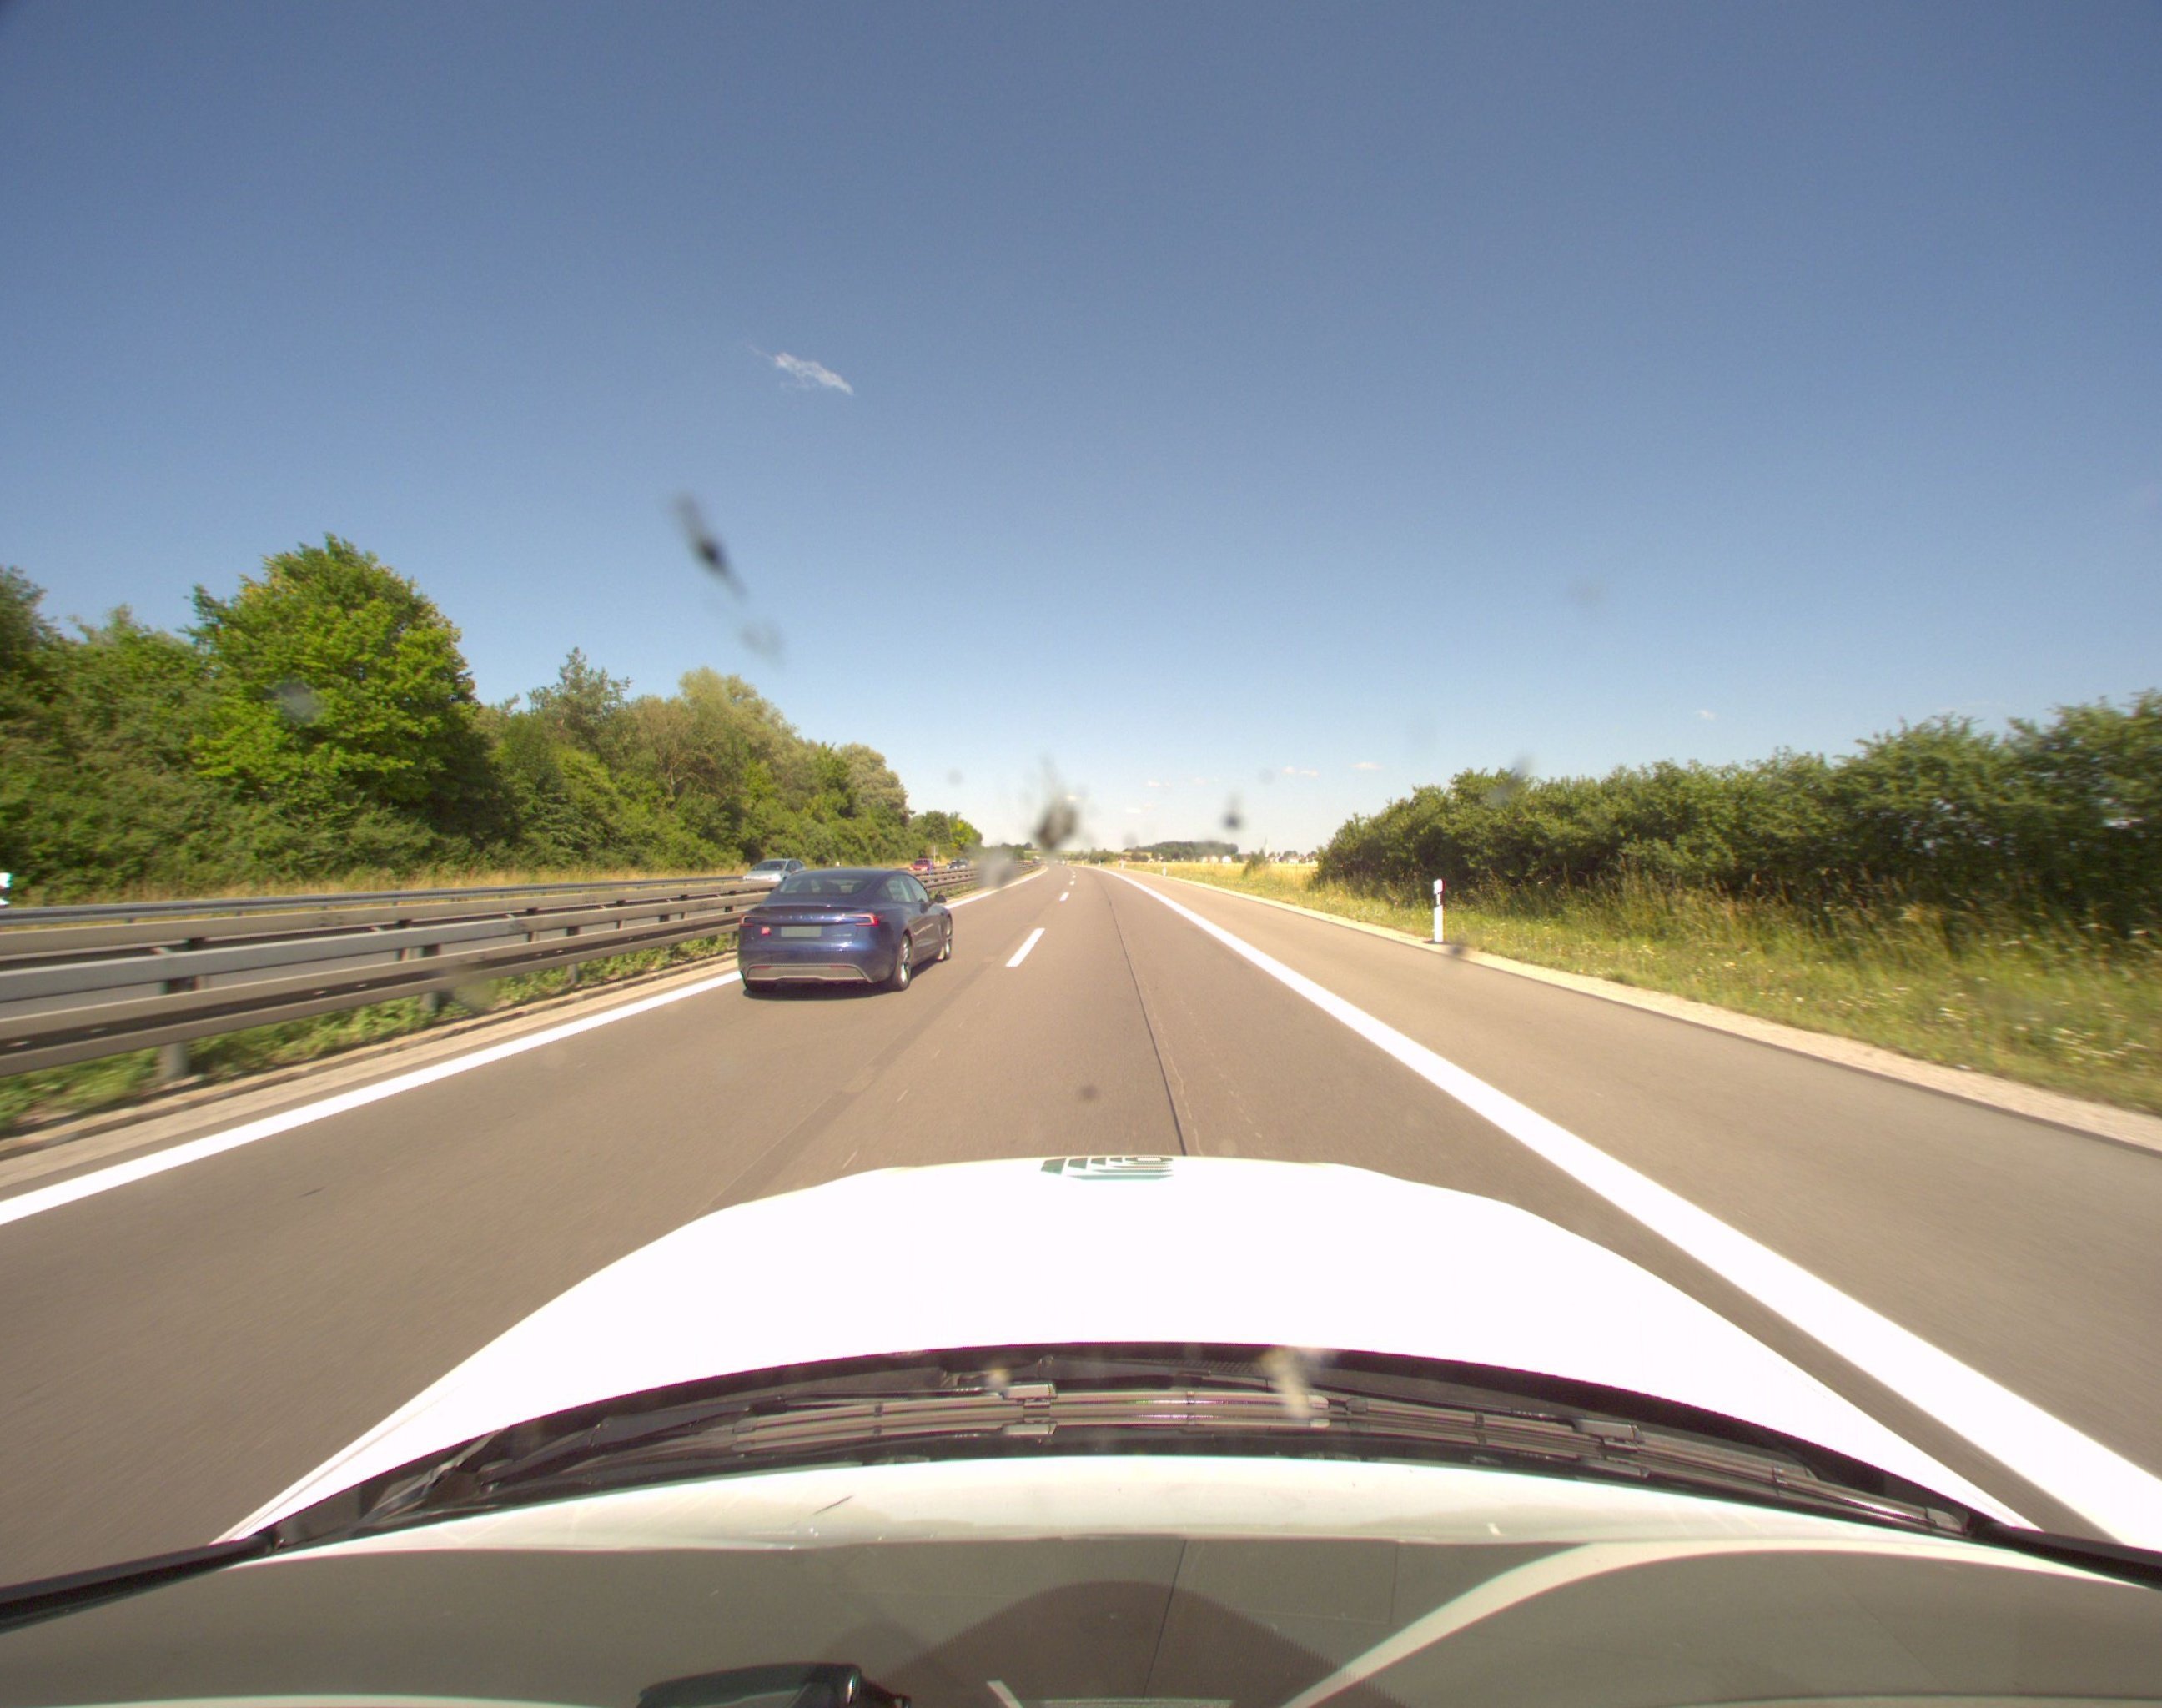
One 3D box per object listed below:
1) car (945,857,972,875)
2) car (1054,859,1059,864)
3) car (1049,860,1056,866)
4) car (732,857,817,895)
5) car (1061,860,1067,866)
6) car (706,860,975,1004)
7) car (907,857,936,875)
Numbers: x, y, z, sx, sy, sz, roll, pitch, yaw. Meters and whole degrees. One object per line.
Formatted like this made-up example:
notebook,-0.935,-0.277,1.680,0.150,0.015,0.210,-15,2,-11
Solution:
car,-10.827,1.023,72.104,1.644,1.493,4.538,-1,0,0
car,-7.692,2.298,256.688,1.671,1.453,3.589,-1,-1,-2
car,-7.016,2.353,202.547,1.671,1.453,3.589,-1,-1,-2
car,-13.729,0.946,36.767,1.986,1.612,4.638,-1,0,1
car,-4.502,2.385,215.162,1.672,1.453,3.587,-1,-1,-4
car,-2.862,0.826,11.318,1.840,1.433,5.867,-1,0,1
car,-13.944,1.023,71.400,1.644,1.493,4.538,-1,0,0
